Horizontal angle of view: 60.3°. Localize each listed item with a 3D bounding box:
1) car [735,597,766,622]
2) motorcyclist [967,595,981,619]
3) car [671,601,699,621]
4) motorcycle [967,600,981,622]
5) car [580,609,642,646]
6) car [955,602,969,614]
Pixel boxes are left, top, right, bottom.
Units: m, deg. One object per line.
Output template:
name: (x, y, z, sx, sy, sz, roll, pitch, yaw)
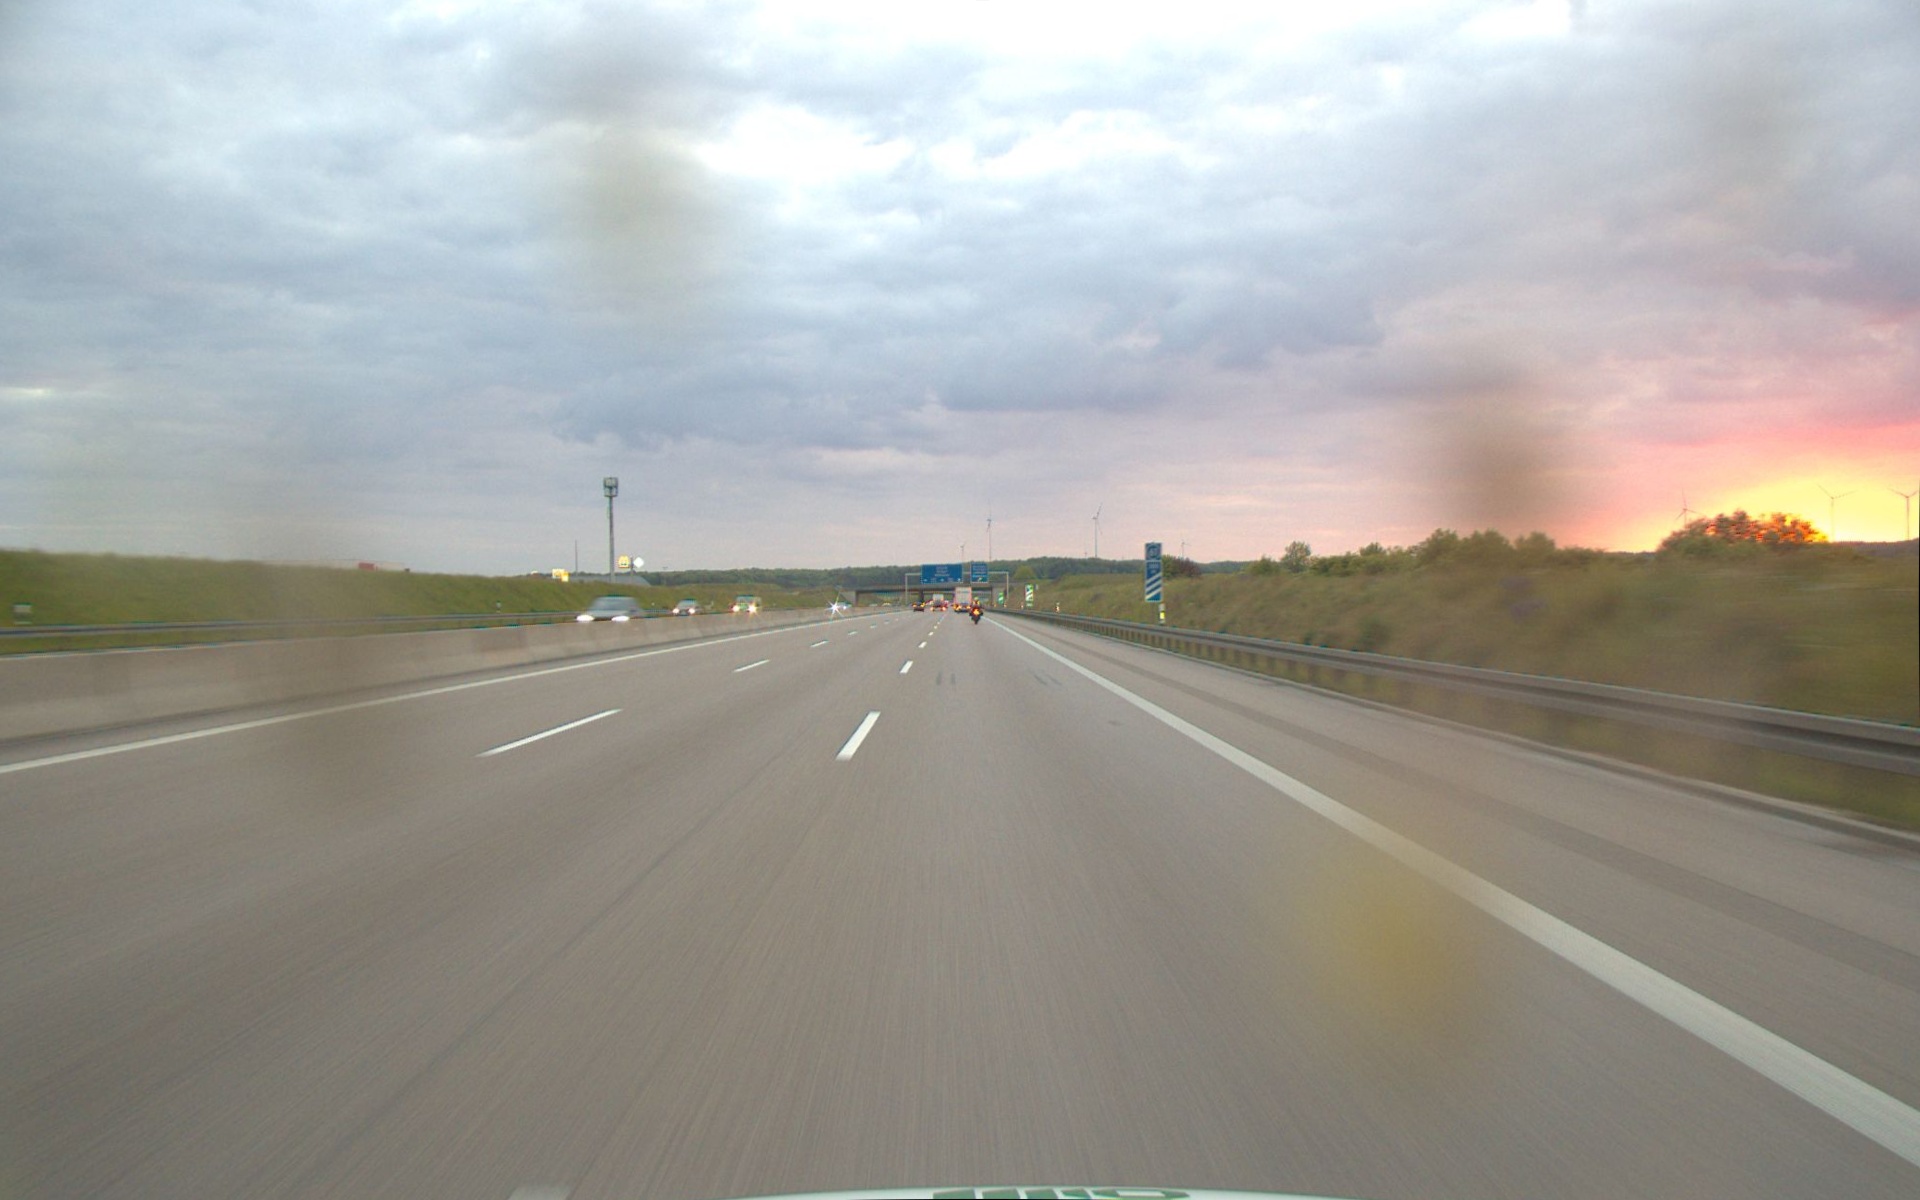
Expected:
car: (-17.751, 0.743, 140.132, 1.962, 2.049, 5.736, 0, 0, -1)
motorcyclist: (0.910, 0.440, 105.486, 0.848, 1.514, 1.168, 1, 0, 1)
car: (-22.170, 0.862, 133.523, 1.597, 1.544, 4.426, 0, 0, -1)
motorcycle: (0.889, 0.680, 105.555, 0.883, 1.370, 2.348, 0, 1, 0)
car: (-14.830, 1.137, 70.548, 1.774, 1.460, 4.669, 0, 0, -2)
car: (0.265, 1.084, 226.994, 1.879, 1.607, 3.999, 0, 0, -1)
